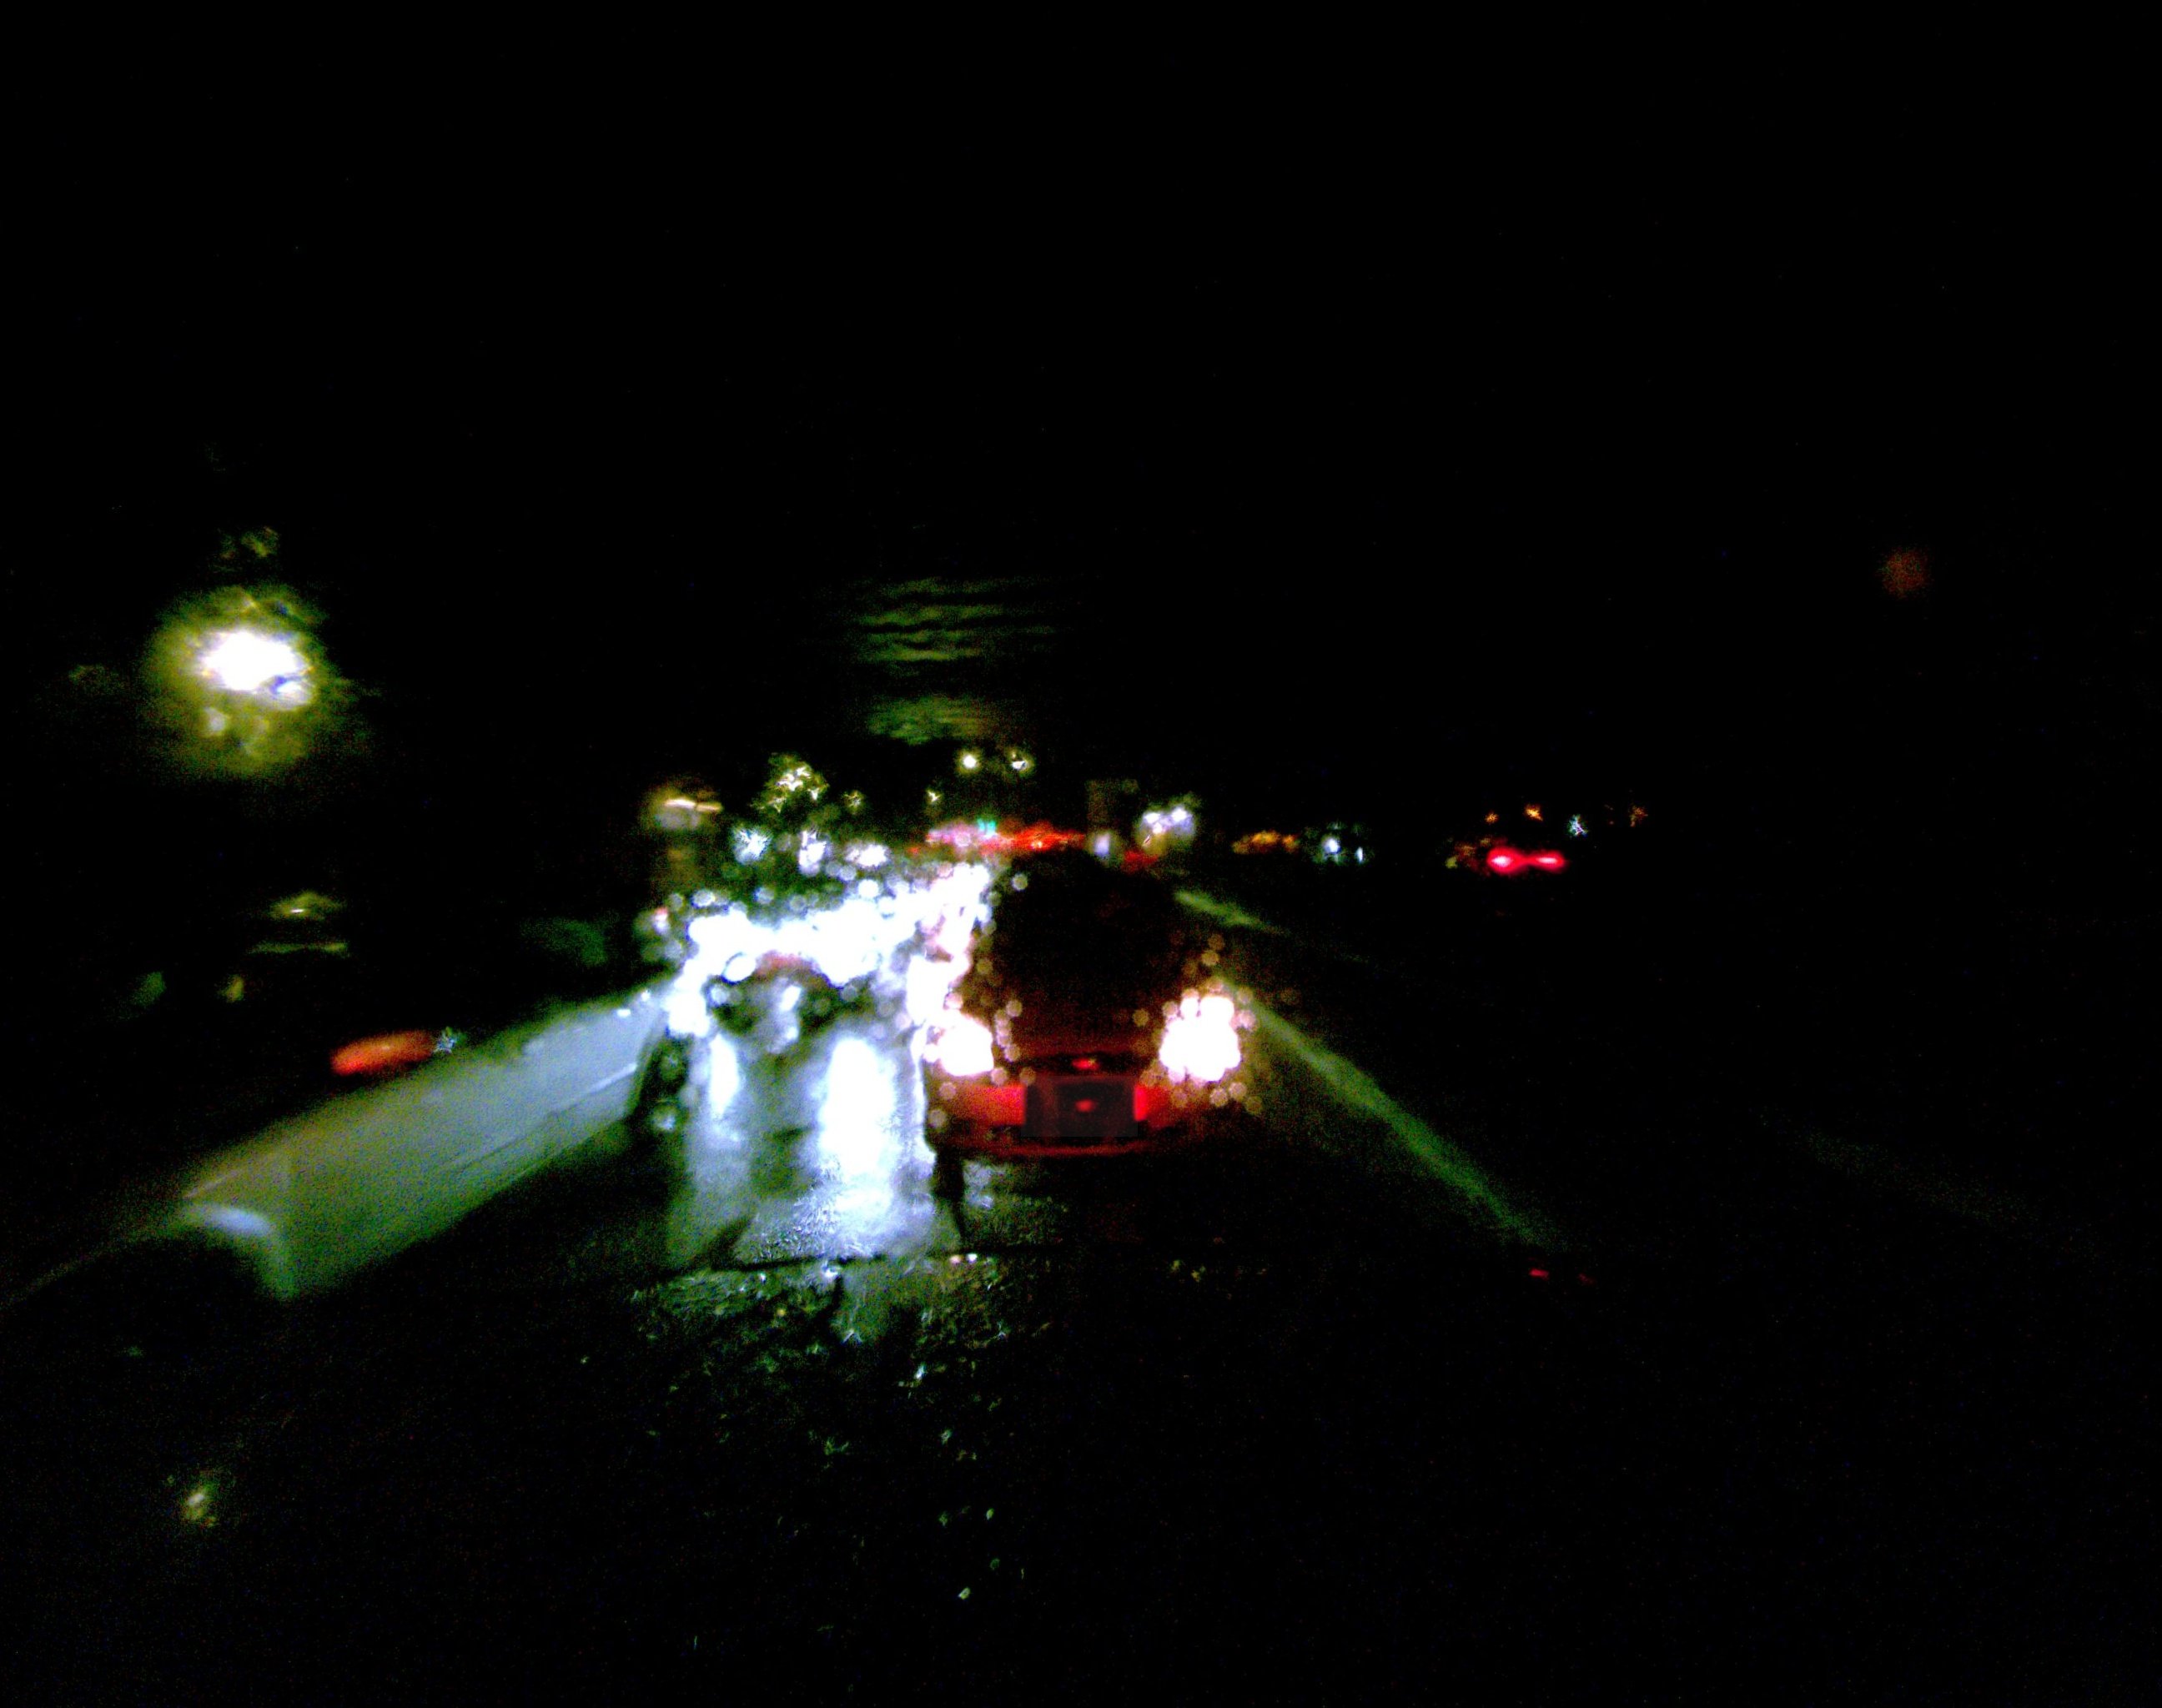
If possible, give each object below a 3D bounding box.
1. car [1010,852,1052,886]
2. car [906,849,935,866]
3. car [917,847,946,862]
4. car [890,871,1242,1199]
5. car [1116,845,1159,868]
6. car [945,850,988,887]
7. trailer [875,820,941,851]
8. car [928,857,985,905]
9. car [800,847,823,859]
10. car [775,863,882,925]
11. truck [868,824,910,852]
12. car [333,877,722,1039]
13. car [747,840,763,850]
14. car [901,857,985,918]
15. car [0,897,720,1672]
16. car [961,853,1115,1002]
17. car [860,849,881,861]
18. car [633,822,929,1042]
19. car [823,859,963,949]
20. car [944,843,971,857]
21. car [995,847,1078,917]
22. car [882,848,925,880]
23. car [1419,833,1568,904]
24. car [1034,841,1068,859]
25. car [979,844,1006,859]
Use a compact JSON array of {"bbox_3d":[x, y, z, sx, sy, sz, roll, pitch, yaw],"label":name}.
[{"bbox_3d":[-2.355,0.680,36.193,1.853,1.476,4.484,-1,0,-3],"label":"car"},{"bbox_3d":[-15.065,0.327,71.003,1.856,1.423,4.493,-3,2,-22],"label":"car"},{"bbox_3d":[-15.959,0.050,80.984,1.856,1.423,4.491,-3,2,-26],"label":"car"},{"bbox_3d":[-0.042,0.899,5.542,1.603,1.360,3.942,-2,1,1],"label":"car"},{"bbox_3d":[4.076,0.215,55.884,1.913,1.578,4.076,1,-1,-15],"label":"car"},{"bbox_3d":[-5.381,0.649,36.081,1.743,1.581,3.997,-2,1,-6],"label":"car"},{"bbox_3d":[-26.495,-2.658,115.636,3.976,4.152,13.883,-3,1,-38],"label":"trailer"},{"bbox_3d":[-4.377,0.895,27.235,1.683,1.463,3.998,-2,1,-5],"label":"car"},{"bbox_3d":[-42.583,-0.140,119.995,1.974,1.731,4.906,-3,1,-35],"label":"car"},{"bbox_3d":[-7.484,1.119,22.979,1.853,1.423,4.499,-2,2,-3],"label":"car"},{"bbox_3d":[-30.558,-2.558,120.782,3.976,4.152,6.359,-3,1,-38],"label":"truck"},{"bbox_3d":[-6.650,1.122,9.934,1.853,1.447,4.501,-1,0,-2],"label":"car"},{"bbox_3d":[-62.286,-1.666,145.021,1.974,1.731,4.906,-3,1,-33],"label":"car"},{"bbox_3d":[-3.915,0.906,22.207,1.629,1.494,3.999,-2,1,1],"label":"car"},{"bbox_3d":[-3.181,1.034,2.715,1.792,1.359,3.999,-2,2,0],"label":"car"},{"bbox_3d":[-0.462,0.842,10.653,1.683,1.591,3.996,-2,1,1],"label":"car"},{"bbox_3d":[-27.953,0.189,100.819,1.885,1.463,3.991,-3,1,-29],"label":"car"},{"bbox_3d":[-3.364,0.739,9.613,1.999,2.076,4.347,-2,1,-1],"label":"car"},{"bbox_3d":[-3.736,0.934,15.775,1.869,1.503,3.766,-2,1,1],"label":"car"},{"bbox_3d":[-16.265,-0.466,99.816,1.974,1.731,4.907,-3,1,-29],"label":"car"},{"bbox_3d":[-1.106,0.636,19.738,1.881,1.534,3.999,-2,1,-2],"label":"car"},{"bbox_3d":[-9.294,0.481,40.028,1.854,1.423,4.497,-2,2,-10],"label":"car"},{"bbox_3d":[12.650,0.385,23.667,1.999,1.912,4.354,-2,1,-5],"label":"car"},{"bbox_3d":[-3.164,-0.415,80.278,1.862,1.739,4.496,-3,1,-26],"label":"car"},{"bbox_3d":[-10.494,-0.286,89.747,1.912,1.731,4.389,-3,1,-25],"label":"car"}]
